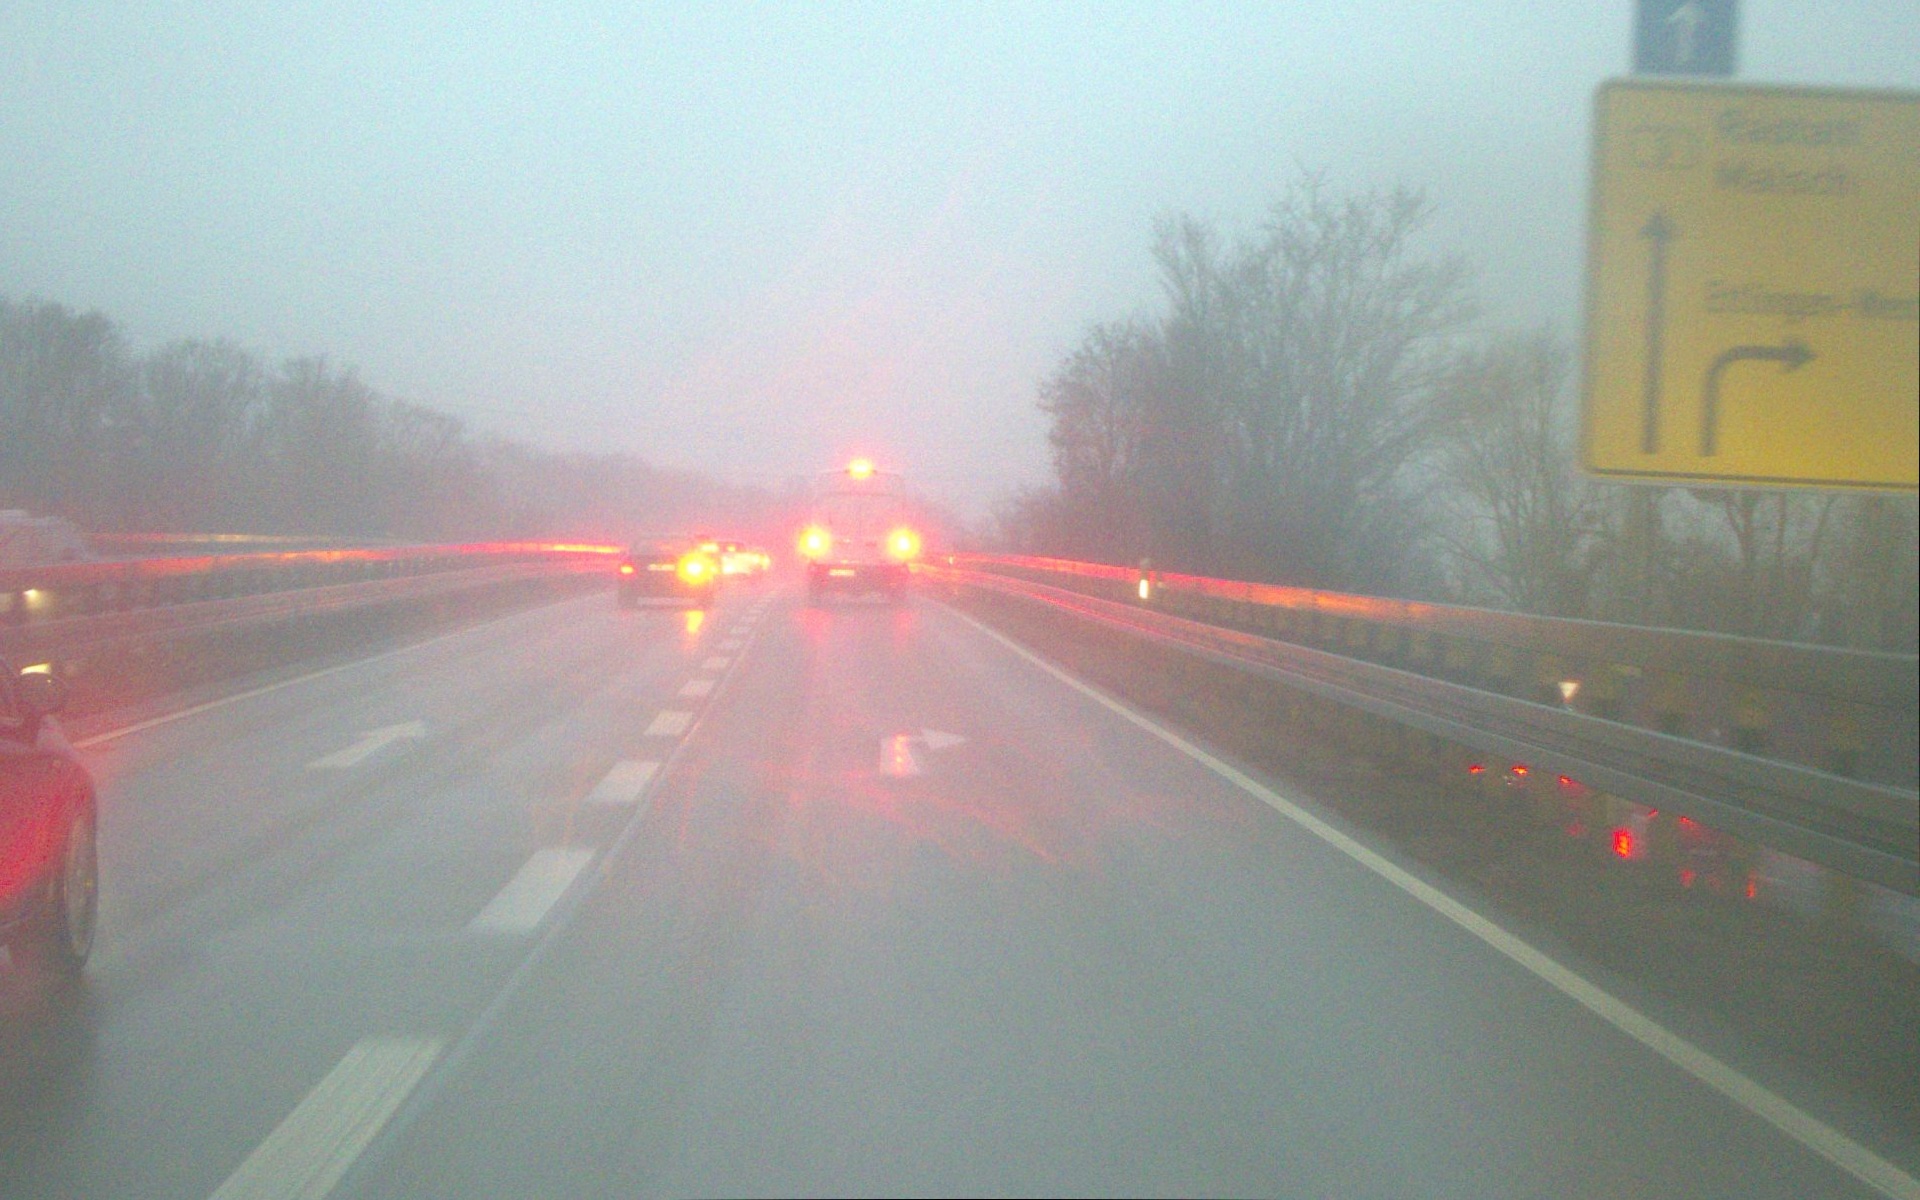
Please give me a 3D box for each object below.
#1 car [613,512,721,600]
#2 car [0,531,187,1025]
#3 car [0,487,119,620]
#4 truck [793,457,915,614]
[{"bbox_3d":[-5.613,-0.825,66.256,1.834,1.532,4.000,2,-1,-2],"label":"car"},{"bbox_3d":[-3.604,0.503,10.626,1.625,1.387,4.001,1,2,-2],"label":"car"},{"bbox_3d":[-11.307,-0.596,40.686,1.678,1.401,4.507,2,2,-1],"label":"car"},{"bbox_3d":[-2.186,-1.271,70.605,2.382,2.899,4.674,1,-2,-2],"label":"truck"}]
